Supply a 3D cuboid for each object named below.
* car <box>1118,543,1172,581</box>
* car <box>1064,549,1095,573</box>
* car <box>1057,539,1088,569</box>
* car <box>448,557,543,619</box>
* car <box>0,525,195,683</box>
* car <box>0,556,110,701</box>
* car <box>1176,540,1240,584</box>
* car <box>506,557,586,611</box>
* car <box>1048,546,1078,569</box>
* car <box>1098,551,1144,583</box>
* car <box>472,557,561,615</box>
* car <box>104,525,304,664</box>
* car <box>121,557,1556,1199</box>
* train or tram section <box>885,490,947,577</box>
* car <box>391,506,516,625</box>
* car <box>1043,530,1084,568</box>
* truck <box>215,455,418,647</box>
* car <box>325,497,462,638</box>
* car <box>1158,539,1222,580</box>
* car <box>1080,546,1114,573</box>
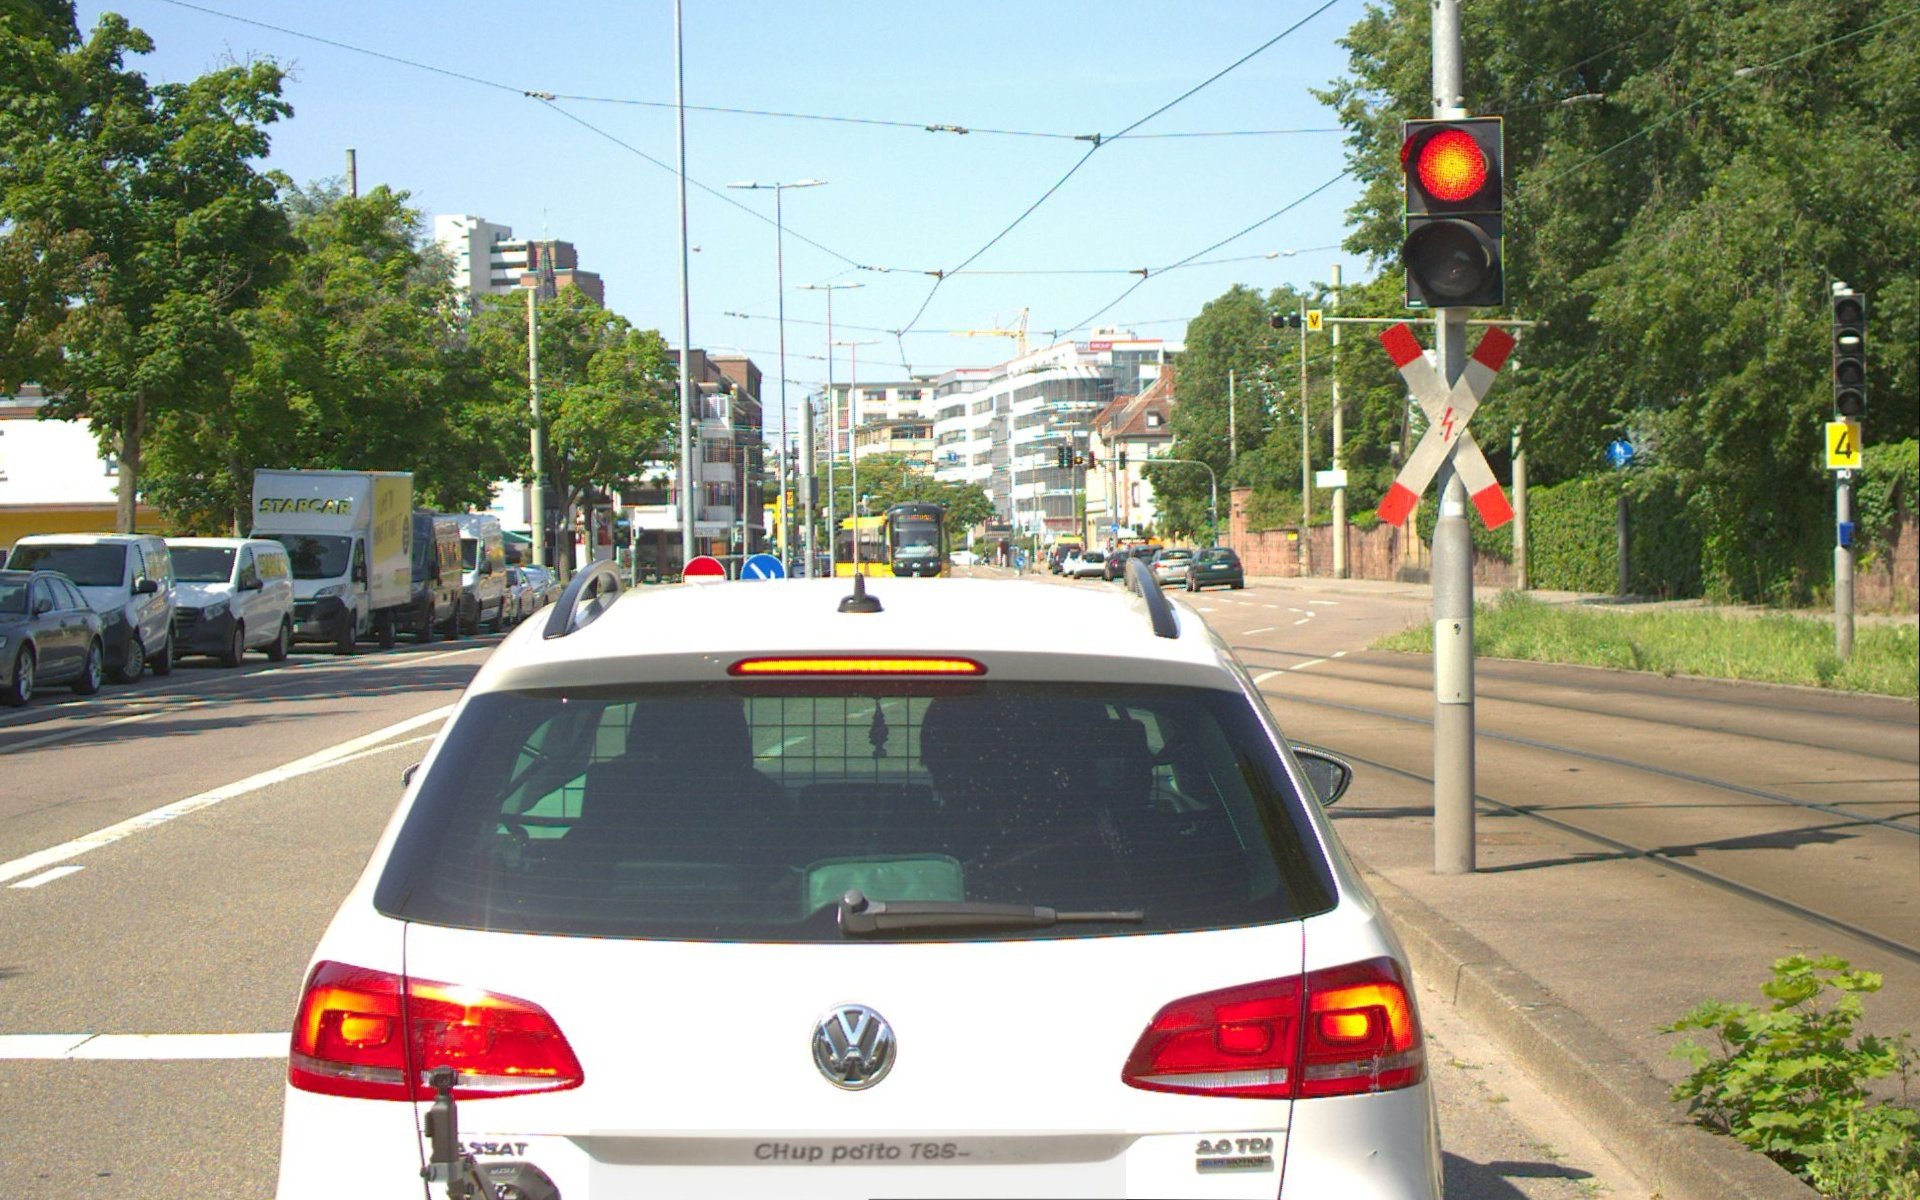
[{"bbox_3d":[7.610,-1.597,141.830,1.861,1.508,3.913,1,1,-2],"label":"car"},{"bbox_3d":[6.956,-2.244,200.111,1.581,1.341,3.454,1,0,-1],"label":"car"},{"bbox_3d":[6.969,-2.865,213.240,1.691,1.806,3.454,1,0,-1],"label":"car"},{"bbox_3d":[-11.520,-0.315,85.449,1.843,1.428,4.038,-1,1,-1],"label":"car"},{"bbox_3d":[-11.434,0.006,45.388,1.843,1.930,5.195,-1,1,-4],"label":"car"},{"bbox_3d":[-11.007,0.301,38.679,1.843,1.511,4.197,-1,1,-1],"label":"car"},{"bbox_3d":[8.136,-1.261,112.999,1.746,1.383,3.913,1,1,-1],"label":"car"},{"bbox_3d":[-11.615,-0.459,96.593,1.780,1.428,4.038,-1,1,-1],"label":"car"},{"bbox_3d":[7.508,-3.112,251.311,1.993,1.590,4.000,1,0,0],"label":"car"},{"bbox_3d":[7.429,-1.549,158.923,1.745,1.403,3.914,1,1,-3],"label":"car"},{"bbox_3d":[-11.662,-0.383,90.641,1.843,1.428,4.038,-1,1,-1],"label":"car"},{"bbox_3d":[-11.347,-0.122,51.946,1.843,1.954,5.134,-1,1,0],"label":"car"},{"bbox_3d":[-0.204,0.672,6.227,1.768,1.441,3.913,1,1,-1],"label":"car"},{"bbox_3d":[-1.690,-2.550,135.710,2.301,3.241,11.275,1,0,0],"label":"train or tram section"},{"bbox_3d":[-11.105,-0.791,75.797,1.843,2.486,5.857,-1,1,0],"label":"car"},{"bbox_3d":[7.025,-3.456,234.143,2.463,2.490,5.910,1,0,-1],"label":"car"},{"bbox_3d":[-11.194,-0.873,60.329,2.356,3.112,6.892,-1,1,-1],"label":"truck"},{"bbox_3d":[-11.176,-0.668,68.146,1.843,2.659,5.003,-1,1,0],"label":"car"},{"bbox_3d":[8.413,-1.493,125.962,1.861,1.412,4.325,1,1,-2],"label":"car"},{"bbox_3d":[7.191,-2.132,181.286,1.581,1.341,3.454,1,0,-1],"label":"car"}]
